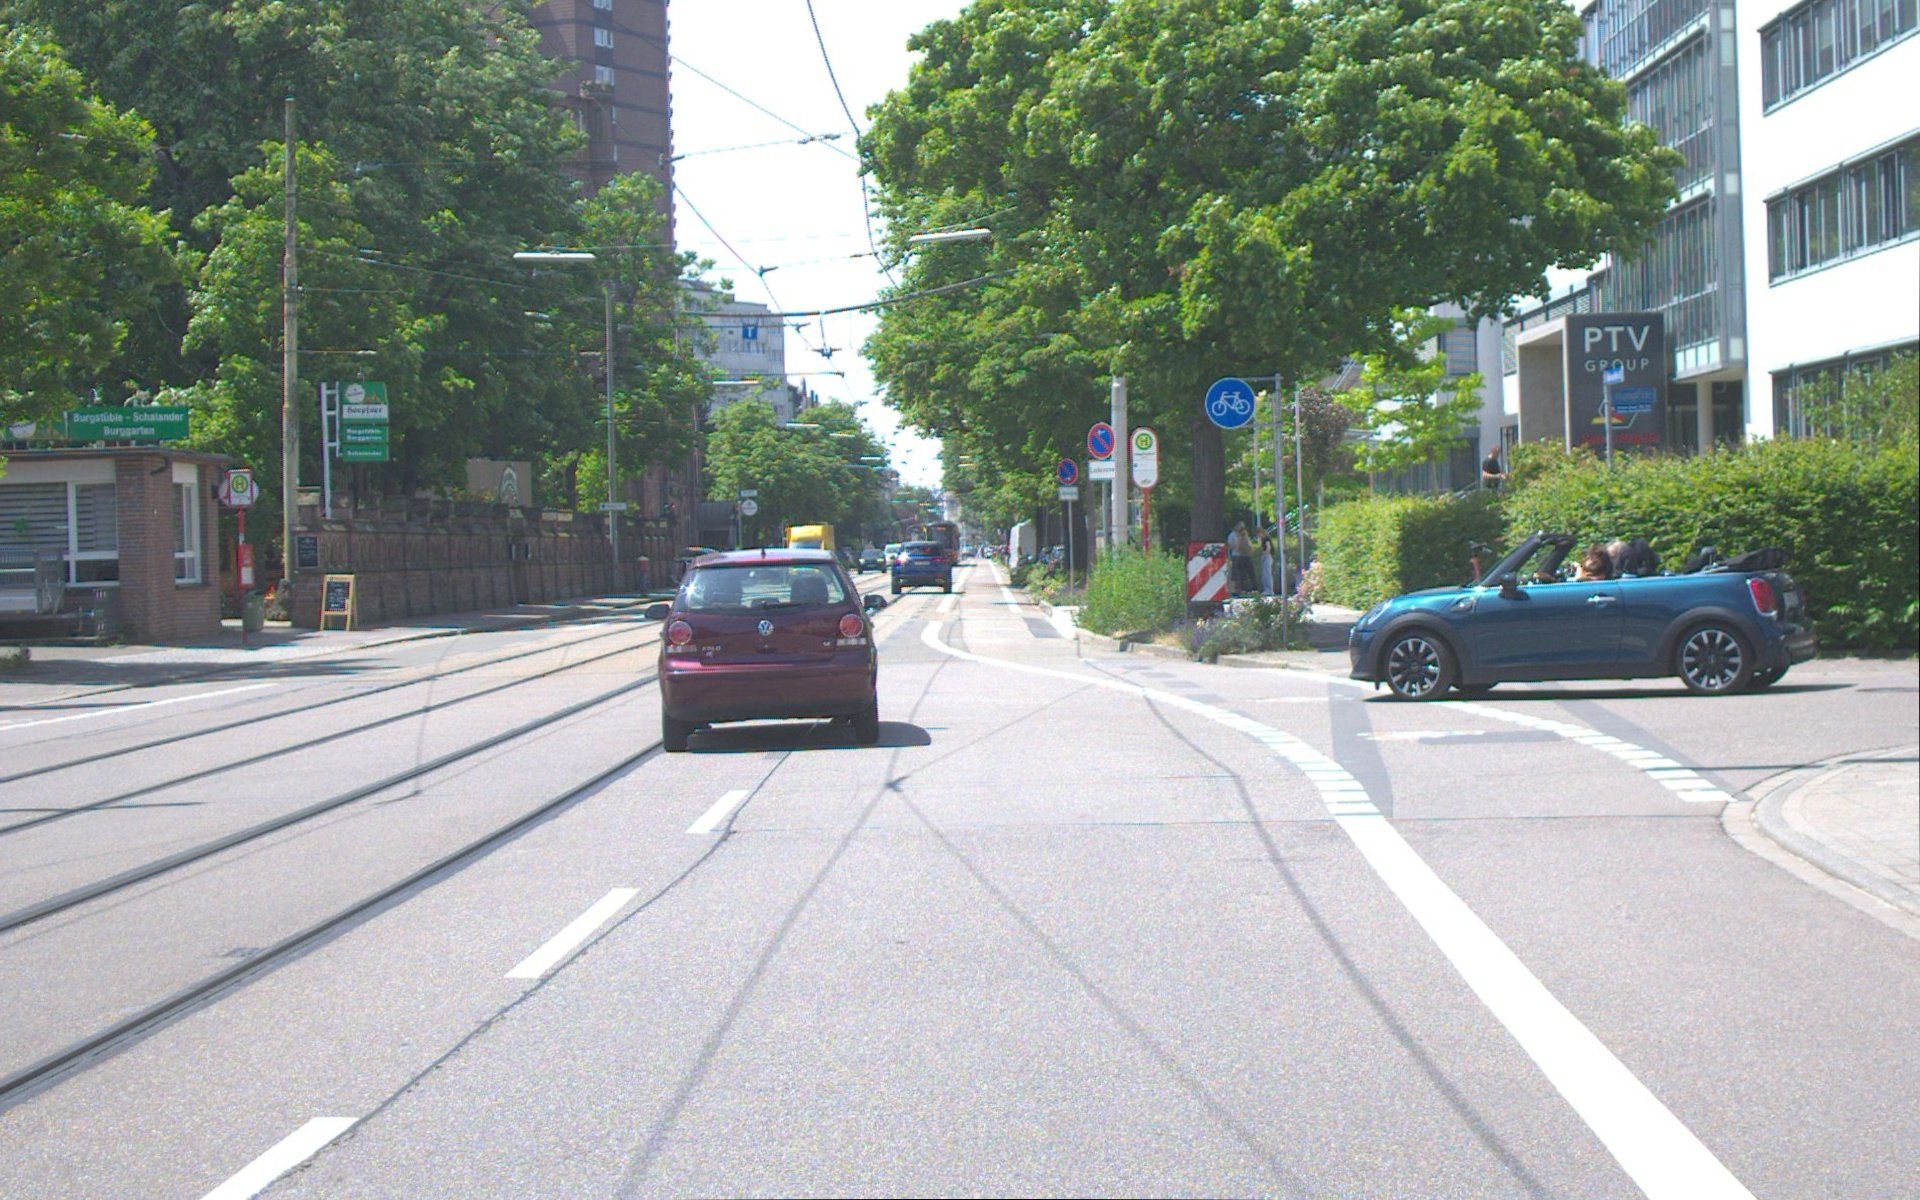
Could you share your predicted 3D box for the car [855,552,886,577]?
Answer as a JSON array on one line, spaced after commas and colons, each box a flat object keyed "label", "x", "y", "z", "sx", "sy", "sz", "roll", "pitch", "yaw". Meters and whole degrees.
[{"label": "car", "x": -5.634, "y": -2.240, "z": 216.993, "sx": 1.770, "sy": 1.510, "sz": 4.000, "roll": -2, "pitch": 1, "yaw": 1}]

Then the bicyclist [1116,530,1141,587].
[{"label": "bicyclist", "x": 5.423, "y": -1.330, "z": 110.683, "sx": 0.696, "sy": 1.793, "sz": 0.887, "roll": -3, "pitch": 0, "yaw": 4}]

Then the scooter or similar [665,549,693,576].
[{"label": "scooter or similar", "x": -11.987, "y": -1.604, "z": 146.487, "sx": 1.088, "sy": 1.151, "sz": 0.527, "roll": -1, "pitch": 1, "yaw": -20}]

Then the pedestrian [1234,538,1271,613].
[{"label": "pedestrian", "x": 6.768, "y": -0.565, "z": 79.529, "sx": 0.537, "sy": 1.709, "sz": 0.565, "roll": -3, "pitch": 0, "yaw": -29}]

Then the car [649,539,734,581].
[{"label": "car", "x": -13.739, "y": -2.056, "z": 176.078, "sx": 3.987, "sy": 2.007, "sz": 2.000, "roll": -2, "pitch": 1, "yaw": 5}]

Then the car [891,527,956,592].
[{"label": "car", "x": -1.182, "y": -1.308, "z": 109.577, "sx": 1.993, "sy": 2.007, "sz": 4.001, "roll": 0, "pitch": 1, "yaw": -2}]

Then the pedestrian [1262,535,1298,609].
[{"label": "pedestrian", "x": 7.487, "y": -0.651, "z": 80.449, "sx": 0.537, "sy": 1.709, "sz": 0.565, "roll": -3, "pitch": 0, "yaw": -29}]

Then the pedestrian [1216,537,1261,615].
[{"label": "pedestrian", "x": 6.493, "y": -0.559, "z": 80.147, "sx": 0.677, "sy": 1.790, "sz": 0.675, "roll": -4, "pitch": 1, "yaw": -31}]

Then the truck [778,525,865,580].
[{"label": "truck", "x": -7.282, "y": -2.554, "z": 181.777, "sx": 2.371, "sy": 2.777, "sz": 7.314, "roll": -1, "pitch": 1, "yaw": 16}]

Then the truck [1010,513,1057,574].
[{"label": "truck", "x": 3.251, "y": -2.518, "z": 152.583, "sx": 1.993, "sy": 2.652, "sz": 4.875, "roll": 0, "pitch": 1, "yaw": 0}]

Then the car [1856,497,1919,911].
[{"label": "car", "x": 4.780, "y": 0.407, "z": 12.218, "sx": 1.924, "sy": 1.687, "sz": 5.082, "roll": -3, "pitch": 1, "yaw": 2}]

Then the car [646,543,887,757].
[{"label": "car", "x": -1.426, "y": 0.324, "z": 26.643, "sx": 1.619, "sy": 1.481, "sz": 4.000, "roll": -2, "pitch": 1, "yaw": 0}]

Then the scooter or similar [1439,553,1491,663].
[{"label": "scooter or similar", "x": 5.722, "y": 0.086, "z": 38.916, "sx": 0.326, "sy": 1.218, "sz": 1.150, "roll": 0, "pitch": 1, "yaw": 22}]

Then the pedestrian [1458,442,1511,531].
[{"label": "pedestrian", "x": 10.486, "y": -2.261, "z": 68.735, "sx": 0.874, "sy": 1.709, "sz": 1.089, "roll": -3, "pitch": 0, "yaw": 13}]

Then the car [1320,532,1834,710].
[{"label": "car", "x": 5.193, "y": 0.180, "z": 28.955, "sx": 3.919, "sy": 1.367, "sz": 1.701, "roll": -2, "pitch": 0, "yaw": 25}]

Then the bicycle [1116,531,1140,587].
[{"label": "bicycle", "x": 5.414, "y": -1.313, "z": 110.751, "sx": 0.690, "sy": 1.779, "sz": 1.810, "roll": -3, "pitch": 0, "yaw": 3}]

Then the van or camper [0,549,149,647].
[{"label": "van or camper", "x": -16.137, "y": -0.047, "z": 59.429, "sx": 3.784, "sy": 1.623, "sz": 1.871, "roll": 0, "pitch": 2, "yaw": 1}]

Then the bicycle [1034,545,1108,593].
[{"label": "bicycle", "x": 2.917, "y": -0.821, "z": 90.506, "sx": 1.883, "sy": 1.178, "sz": 0.694, "roll": -2, "pitch": 0, "yaw": 1}]
